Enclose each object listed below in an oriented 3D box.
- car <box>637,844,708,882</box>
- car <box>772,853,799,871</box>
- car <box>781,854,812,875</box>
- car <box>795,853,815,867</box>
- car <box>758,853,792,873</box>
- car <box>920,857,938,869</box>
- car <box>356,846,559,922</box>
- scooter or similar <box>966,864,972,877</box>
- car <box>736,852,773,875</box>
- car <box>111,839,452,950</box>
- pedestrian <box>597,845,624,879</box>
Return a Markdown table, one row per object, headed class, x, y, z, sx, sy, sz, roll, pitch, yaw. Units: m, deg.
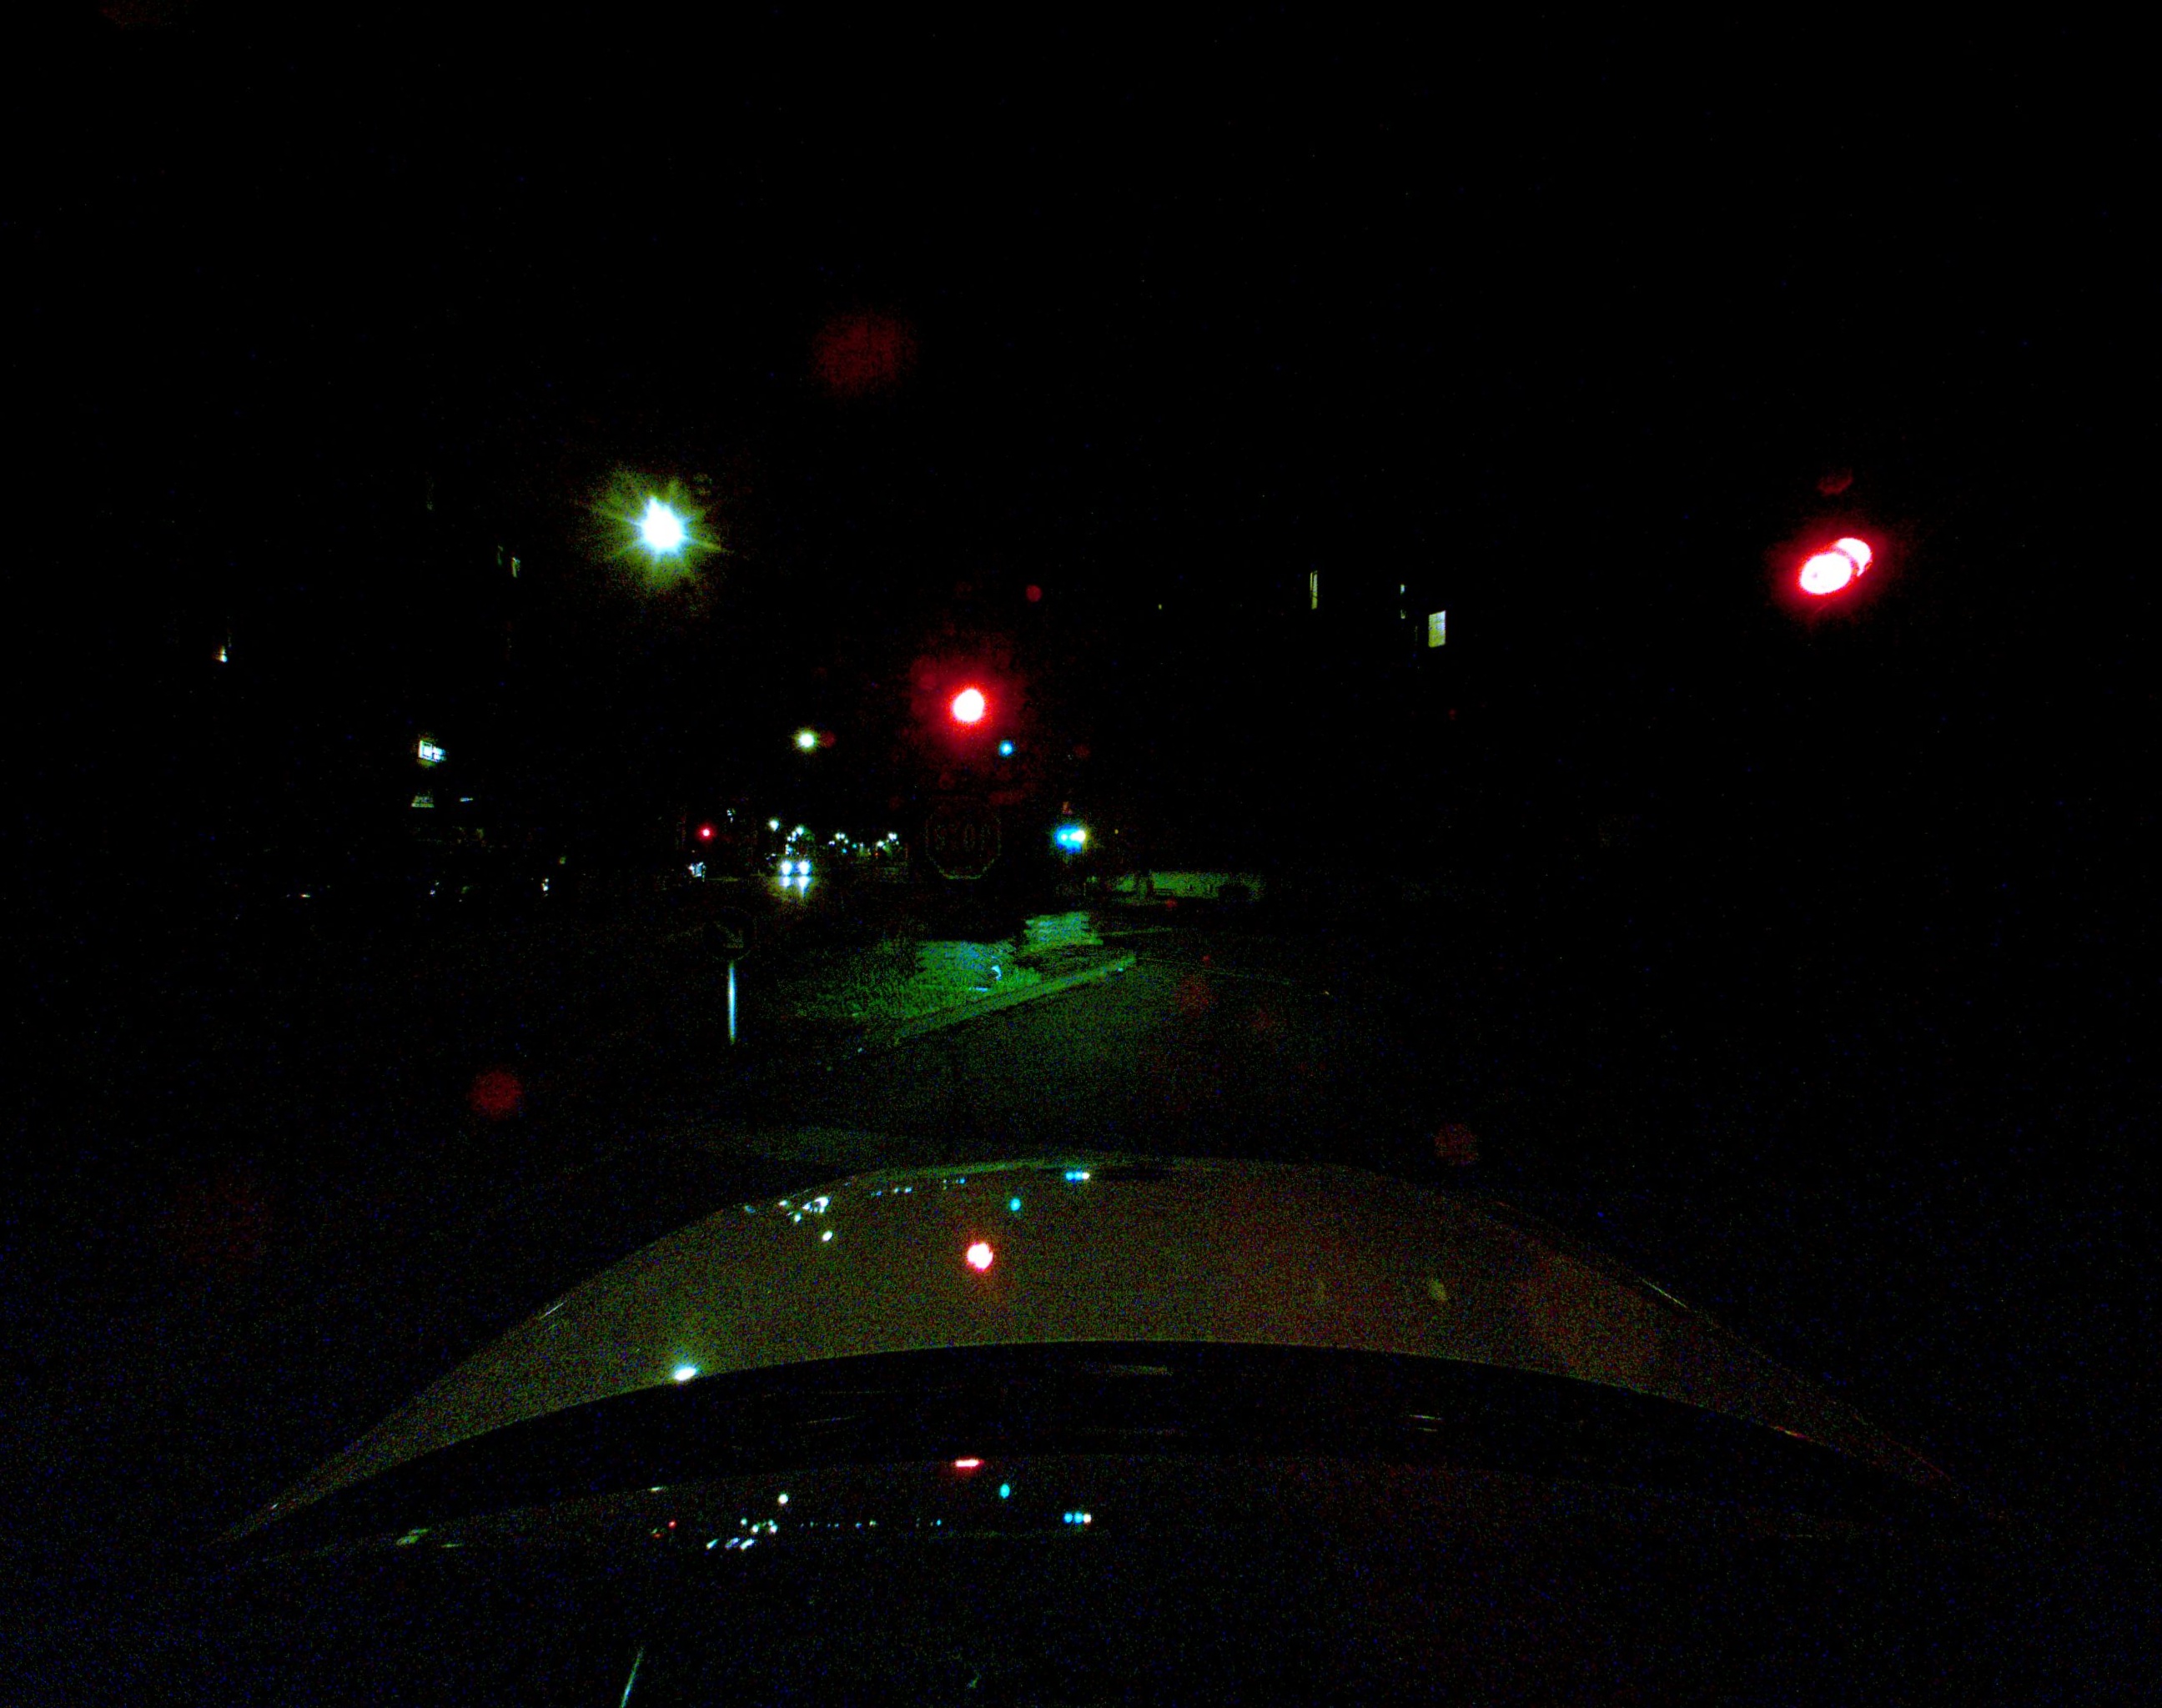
| class | x | y | z | sx | sy | sz | roll | pitch | yaw |
| --- | --- | --- | --- | --- | --- | --- | --- | --- | --- |
| car | -19.297 | 0.418 | 38.657 | 1.887 | 1.596 | 4.008 | 3 | -1 | -11 |
| car | -26.541 | 0.700 | 73.163 | 1.787 | 1.491 | 3.980 | 4 | -1 | -14 |
| car | -20.751 | 0.749 | 59.553 | 1.717 | 1.429 | 3.983 | 0 | 0 | -13 |
| car | -31.629 | 0.680 | 93.432 | 1.787 | 1.416 | 4.106 | 3 | -1 | -15 |
| car | -25.325 | 0.731 | 67.484 | 1.785 | 1.491 | 4.313 | 4 | -1 | -11 |
| car | -19.676 | 1.142 | 105.072 | 1.738 | 1.460 | 4.700 | 2 | -1 | -17 |
| car | -13.720 | 0.625 | 18.317 | 1.863 | 1.433 | 4.423 | 3 | -1 | -13 |
| scooter or similar | -9.559 | 1.389 | 69.245 | 0.421 | 1.130 | 1.490 | 1 | 0 | -5 |
| car | -23.620 | 0.690 | 59.072 | 1.592 | 1.491 | 3.688 | 4 | -1 | -8 |
| car | -12.633 | 0.580 | 13.388 | 1.863 | 1.479 | 4.453 | 2 | -1 | -13 |
| pedestrian | -24.204 | 0.399 | 41.898 | 0.708 | 1.690 | 1.123 | 1 | -1 | -3 |
